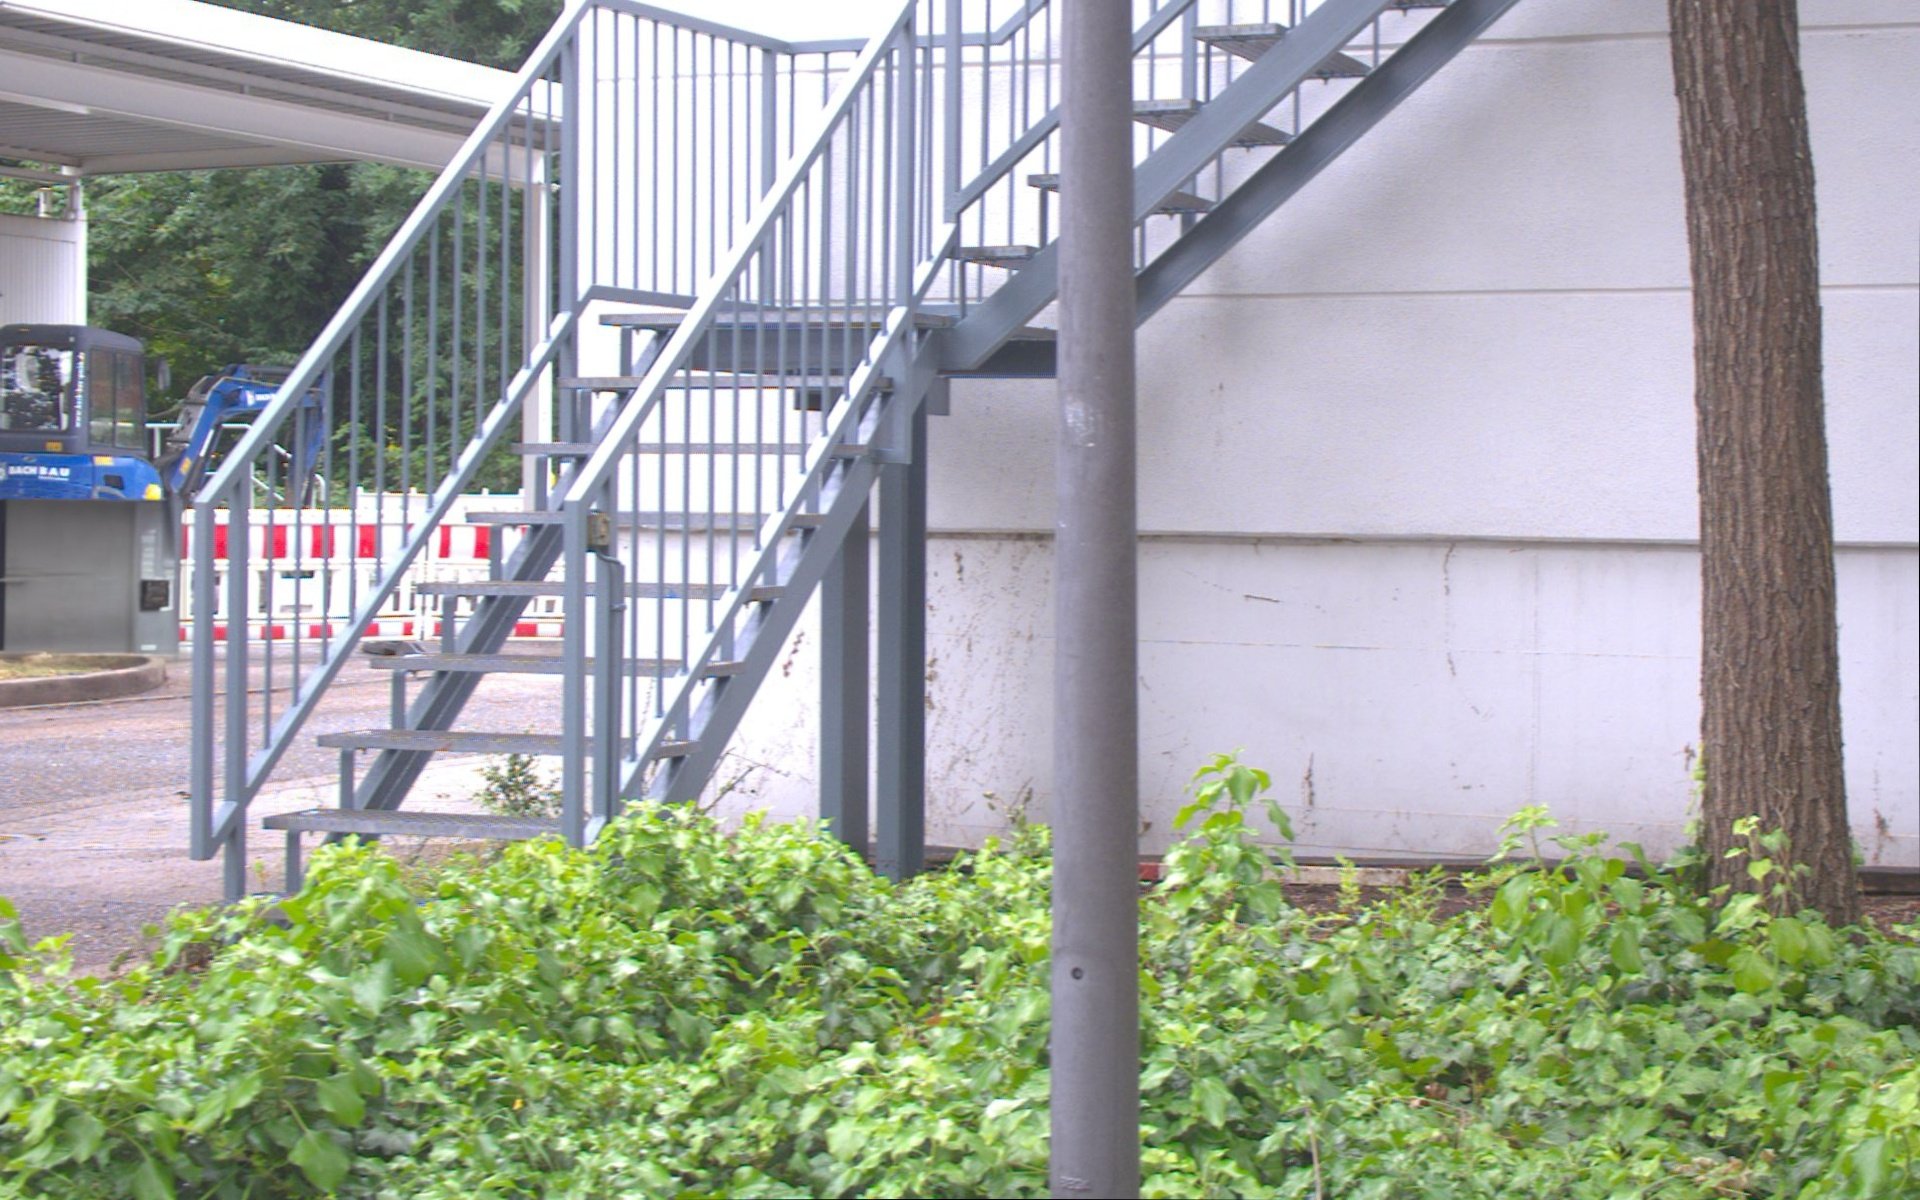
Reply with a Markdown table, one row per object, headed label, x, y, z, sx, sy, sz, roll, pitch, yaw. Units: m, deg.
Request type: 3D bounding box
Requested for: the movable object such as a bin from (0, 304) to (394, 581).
| label | x | y | z | sx | sy | sz | roll | pitch | yaw |
| --- | --- | --- | --- | --- | --- | --- | --- | --- | --- |
| movable object such as a bin | -6.893 | -1.286 | 29.379 | 1.995 | 2.164 | 4.666 | 1 | 1 | 20 |
